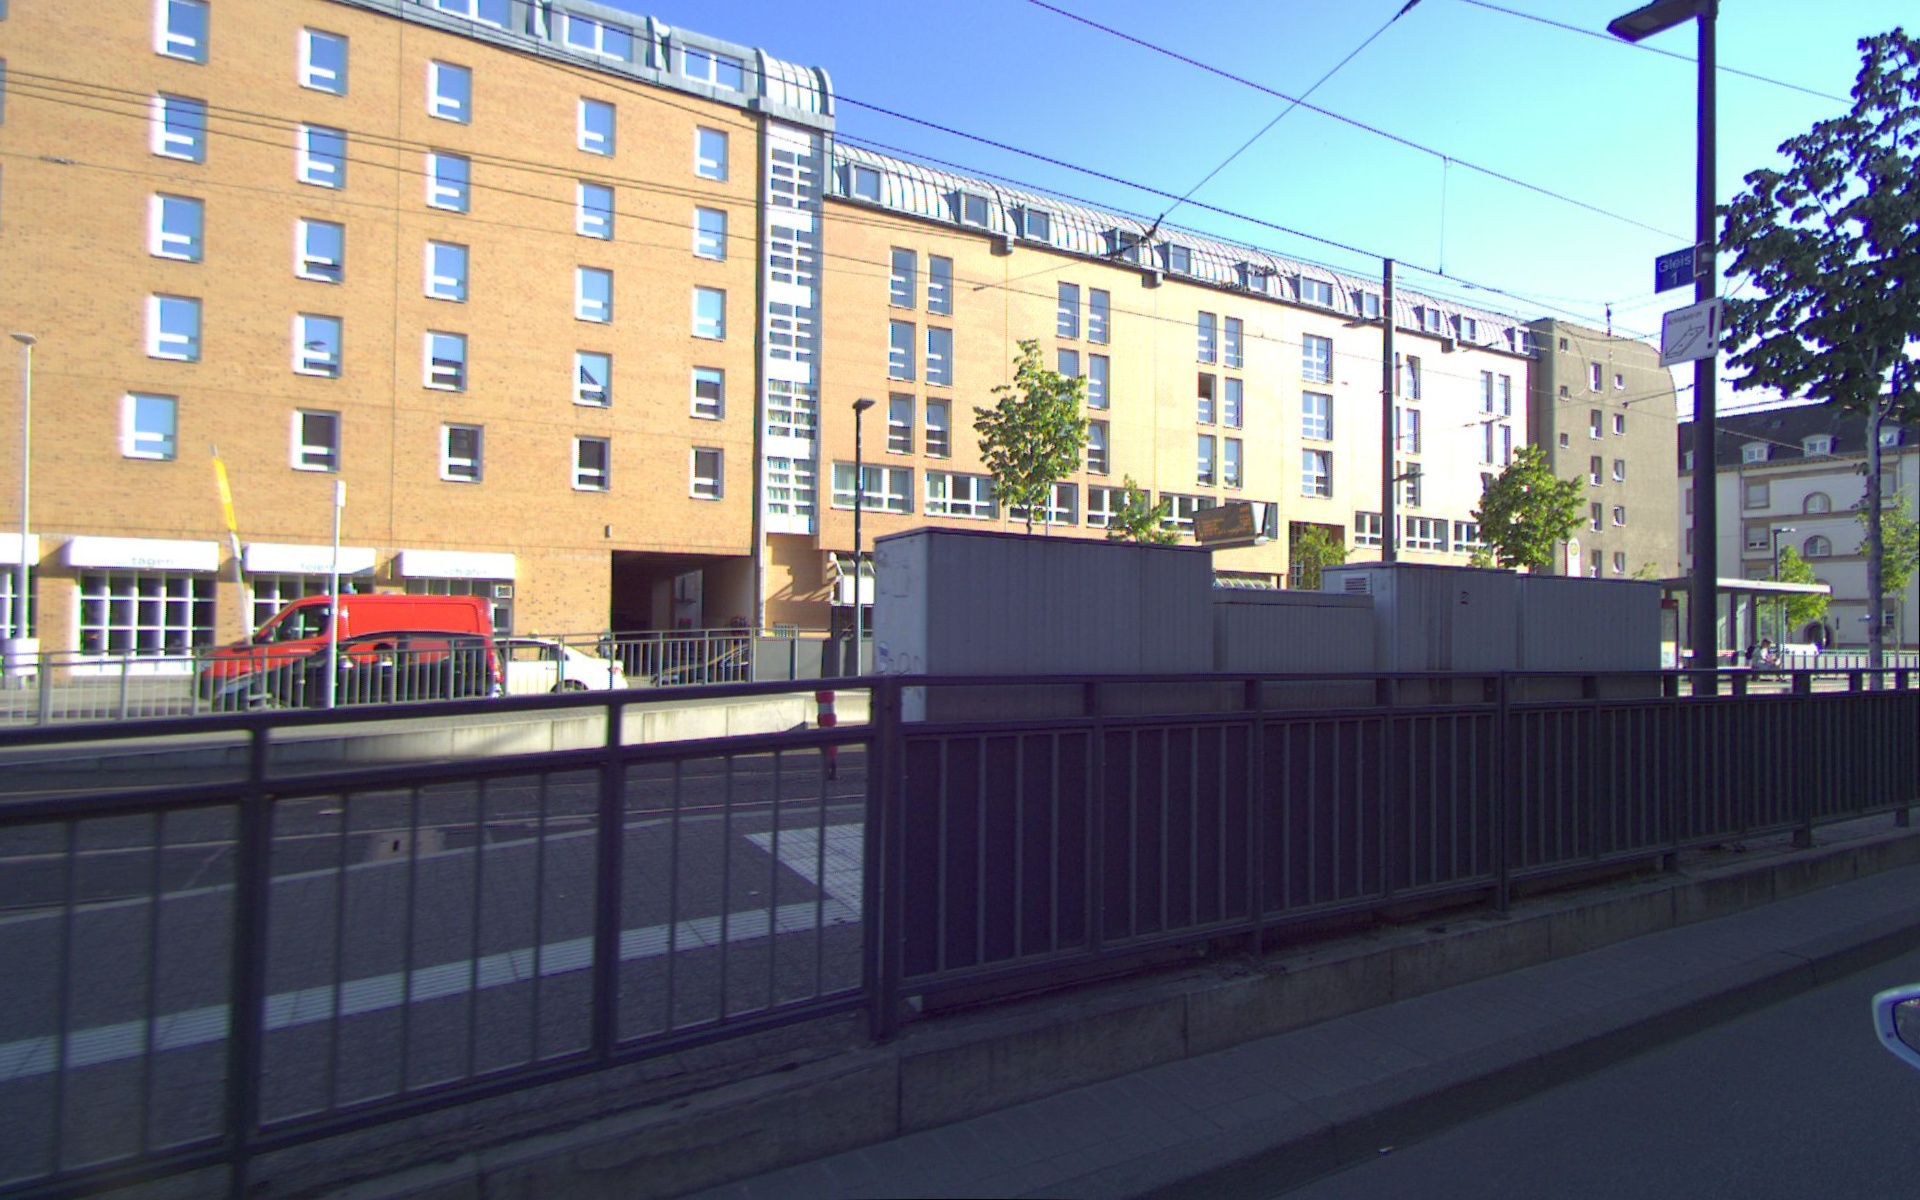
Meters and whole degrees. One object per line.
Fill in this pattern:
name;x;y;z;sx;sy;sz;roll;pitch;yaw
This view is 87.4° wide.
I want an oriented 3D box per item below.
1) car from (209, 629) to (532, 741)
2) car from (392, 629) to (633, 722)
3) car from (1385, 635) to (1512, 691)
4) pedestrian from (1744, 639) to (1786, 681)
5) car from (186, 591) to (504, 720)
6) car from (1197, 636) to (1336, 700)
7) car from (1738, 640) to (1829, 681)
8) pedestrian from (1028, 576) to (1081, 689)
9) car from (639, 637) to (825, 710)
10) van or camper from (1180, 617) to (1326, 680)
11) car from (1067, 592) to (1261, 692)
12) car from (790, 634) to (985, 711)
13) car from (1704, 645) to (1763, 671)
car;-8.664;1.180;15.075;3.953;1.467;1.749;1;-2;-30
car;-8.333;1.339;18.773;3.953;1.553;1.877;1;-2;-30
car;17.661;2.220;36.296;4.258;1.891;1.880;0;-2;-26
pedestrian;23.457;1.741;29.273;0.895;1.205;0.670;2;-2;-29
car;-12.205;1.114;20.353;5.203;2.319;2.069;2;-2;-30
car;9.789;2.101;32.016;4.265;1.891;1.877;1;-2;-30
car;43.186;3.132;52.673;4.087;2.040;1.990;0;-2;-23
pedestrian;1.460;0.508;15.538;0.567;1.706;0.676;1;-2;-22
car;-5.412;1.683;23.918;3.953;1.553;1.877;1;-2;-30
van or camper;11.362;1.830;38.812;5.542;2.198;1.987;-1;-1;-27
car;5.387;1.105;26.322;4.861;2.389;2.037;2;-2;-29
car;-1.614;1.545;22.454;3.953;1.553;1.877;1;-2;-30
car;50.386;3.770;65.416;4.113;1.606;1.826;1;-2;-34
